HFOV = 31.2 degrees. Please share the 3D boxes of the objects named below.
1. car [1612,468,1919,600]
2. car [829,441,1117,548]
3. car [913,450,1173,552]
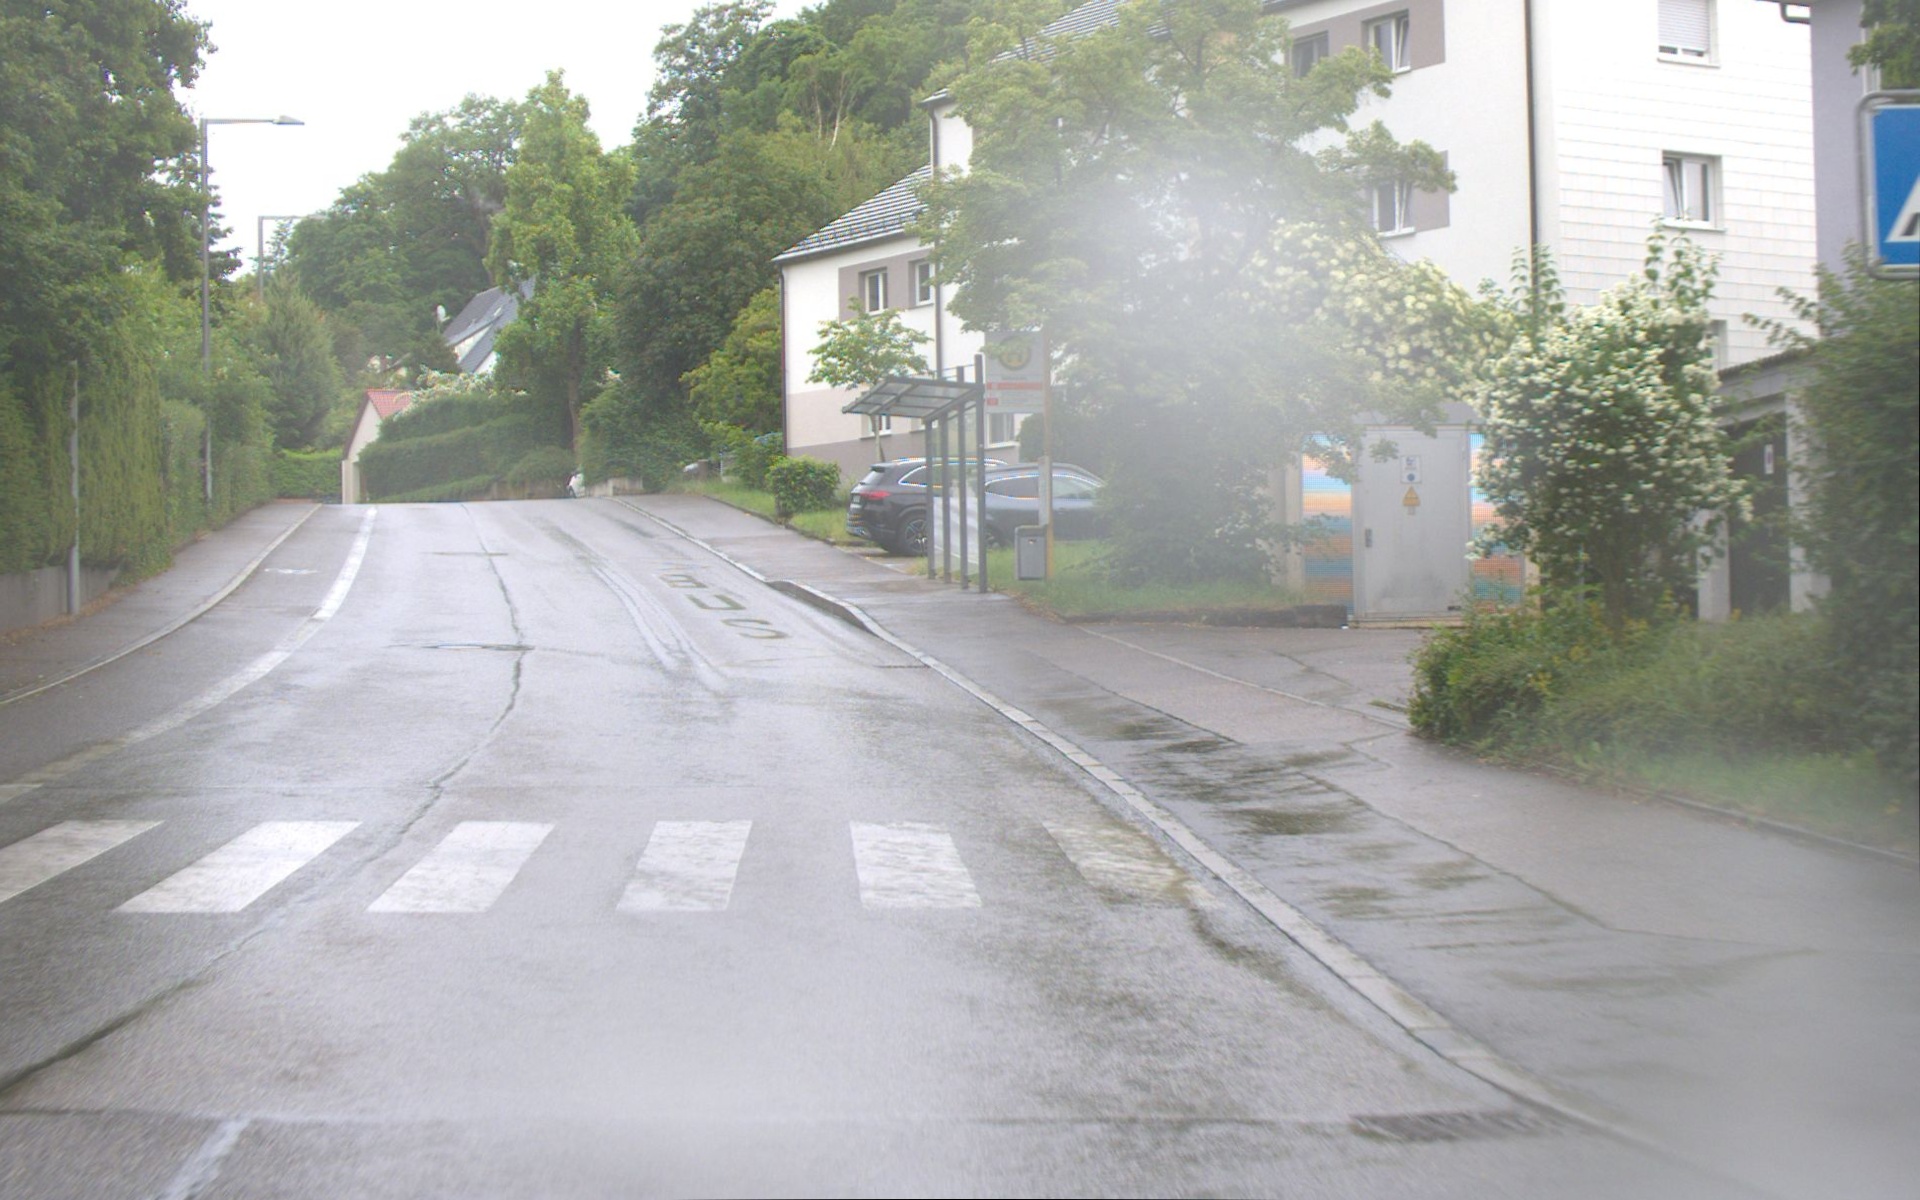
[{"bbox_3d":[9.490,-0.737,39.044,3.699,1.426,1.797,-1,0,-8],"label":"car"},{"bbox_3d":[0.212,-1.811,58.223,4.524,1.654,1.857,-2,4,-15],"label":"car"},{"bbox_3d":[1.267,-1.548,53.160,3.742,1.453,1.725,-1,4,-10],"label":"car"}]
